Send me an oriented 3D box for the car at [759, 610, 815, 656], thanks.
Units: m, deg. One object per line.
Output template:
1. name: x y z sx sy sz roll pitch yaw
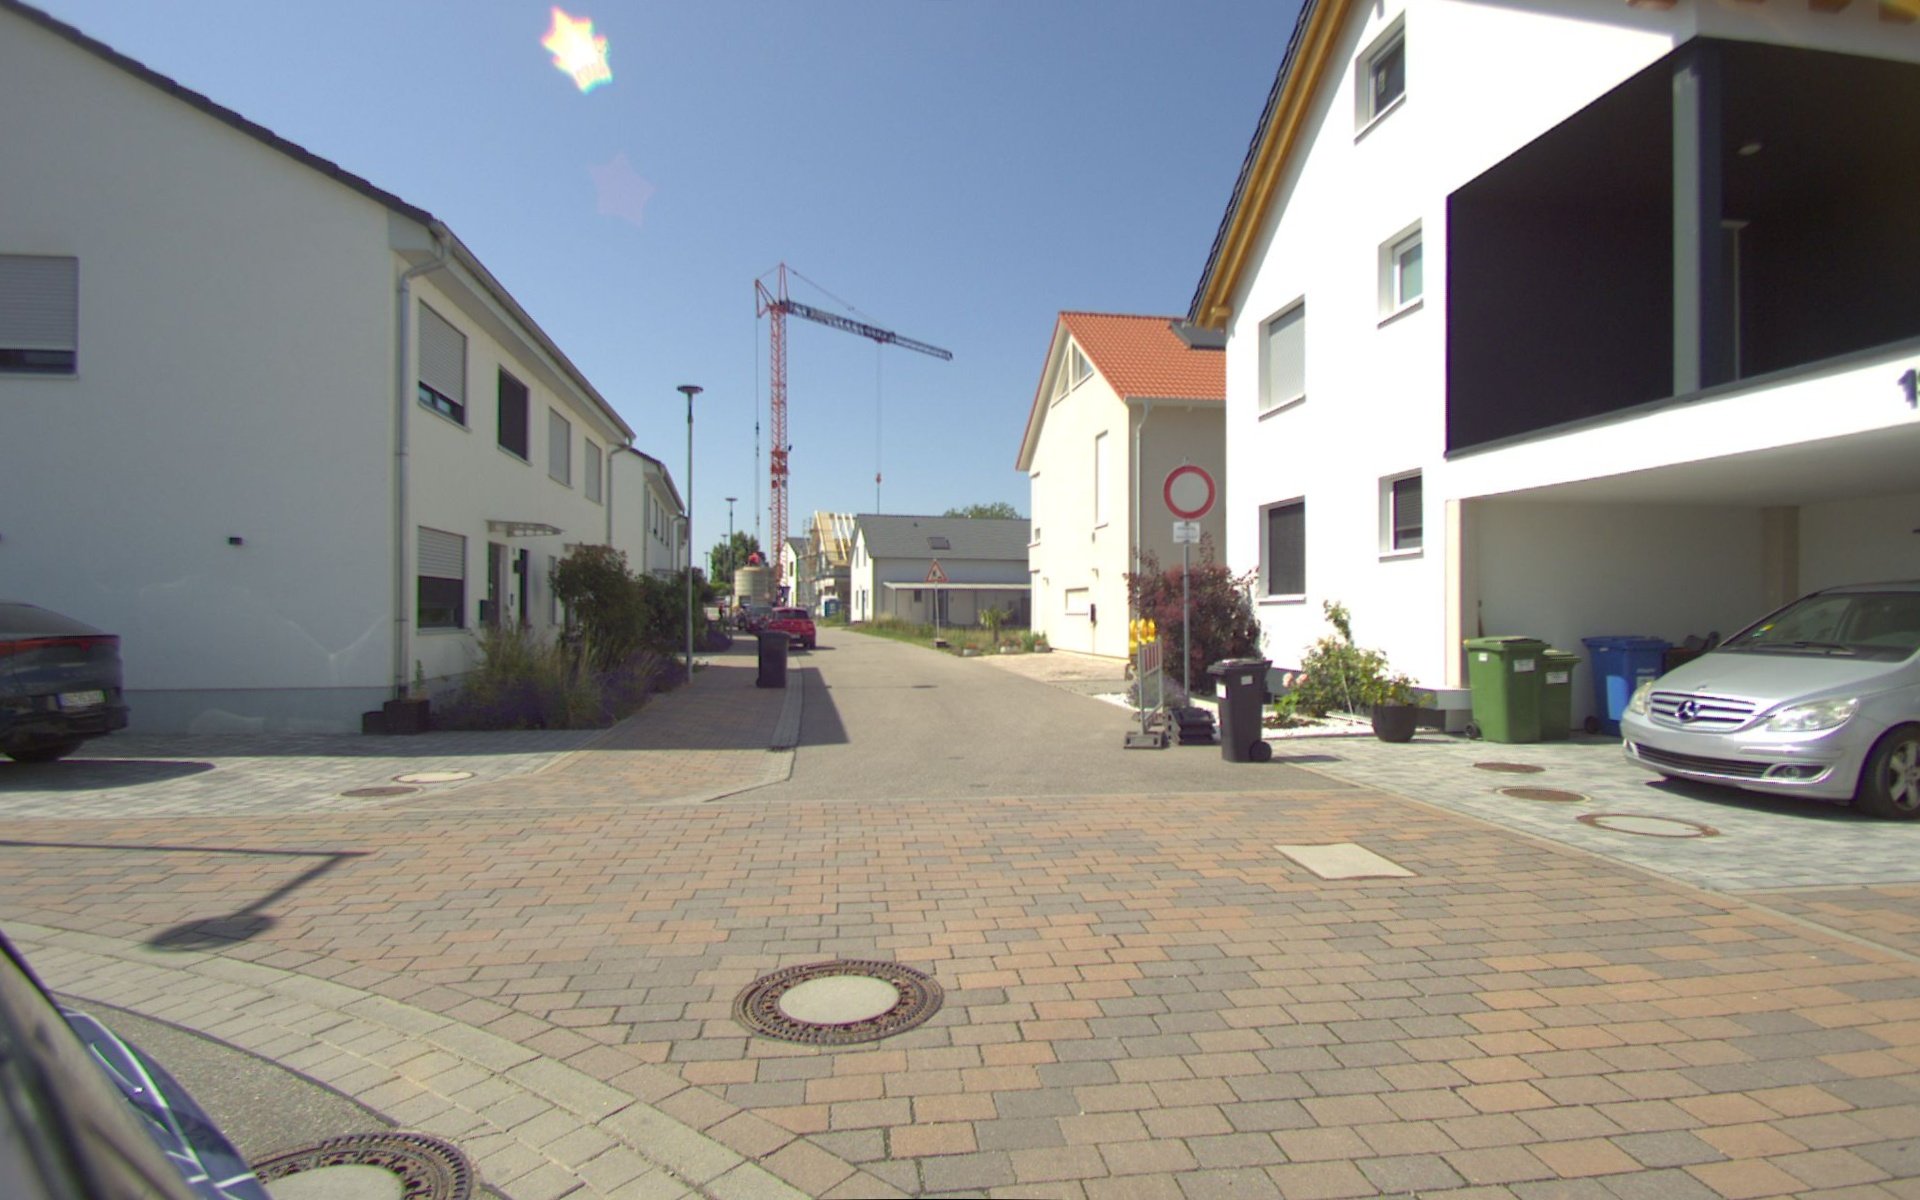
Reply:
1. car: -6.248 1.140 36.468 1.881 1.490 4.009 0 0 -10

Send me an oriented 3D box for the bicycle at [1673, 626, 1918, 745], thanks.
1. bicycle: 8.636 0.857 10.492 2.099 1.135 0.732 0 0 -8

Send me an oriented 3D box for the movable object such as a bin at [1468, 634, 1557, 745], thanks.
1. movable object such as a bin: 5.649 0.900 10.373 0.492 1.100 0.603 0 -3 -10

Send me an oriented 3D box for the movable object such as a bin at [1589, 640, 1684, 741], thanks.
1. movable object such as a bin: 7.141 0.939 10.706 0.492 0.994 0.678 0 0 -10

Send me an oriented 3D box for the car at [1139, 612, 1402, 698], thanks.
1. car: 5.356 0.913 17.691 3.996 1.391 1.759 0 -1 -8

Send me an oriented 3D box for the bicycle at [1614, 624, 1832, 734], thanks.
1. bicycle: 8.542 0.856 11.356 2.097 1.135 0.781 0 0 -13

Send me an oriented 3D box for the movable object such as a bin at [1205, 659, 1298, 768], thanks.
1. movable object such as a bin: 2.678 1.028 9.334 0.608 0.944 0.566 -1 -2 -10

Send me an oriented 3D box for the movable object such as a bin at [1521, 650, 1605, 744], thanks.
1. movable object such as a bin: 6.243 0.986 10.490 0.492 0.912 0.562 0 0 -10

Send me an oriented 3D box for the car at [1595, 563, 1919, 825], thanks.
1. car: 7.083 0.601 7.320 4.097 1.574 1.749 1 -1 -11

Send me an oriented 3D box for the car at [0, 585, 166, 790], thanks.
1. car: -9.594 0.700 8.439 4.282 1.570 1.963 0 -2 -7

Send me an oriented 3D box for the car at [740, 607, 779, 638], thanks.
1. car: -11.048 1.210 55.603 1.773 1.630 3.687 0 0 -16

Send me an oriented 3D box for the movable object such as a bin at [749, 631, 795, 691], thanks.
1. movable object such as a bin: -3.487 1.127 18.800 0.810 1.072 0.591 0 0 -10
